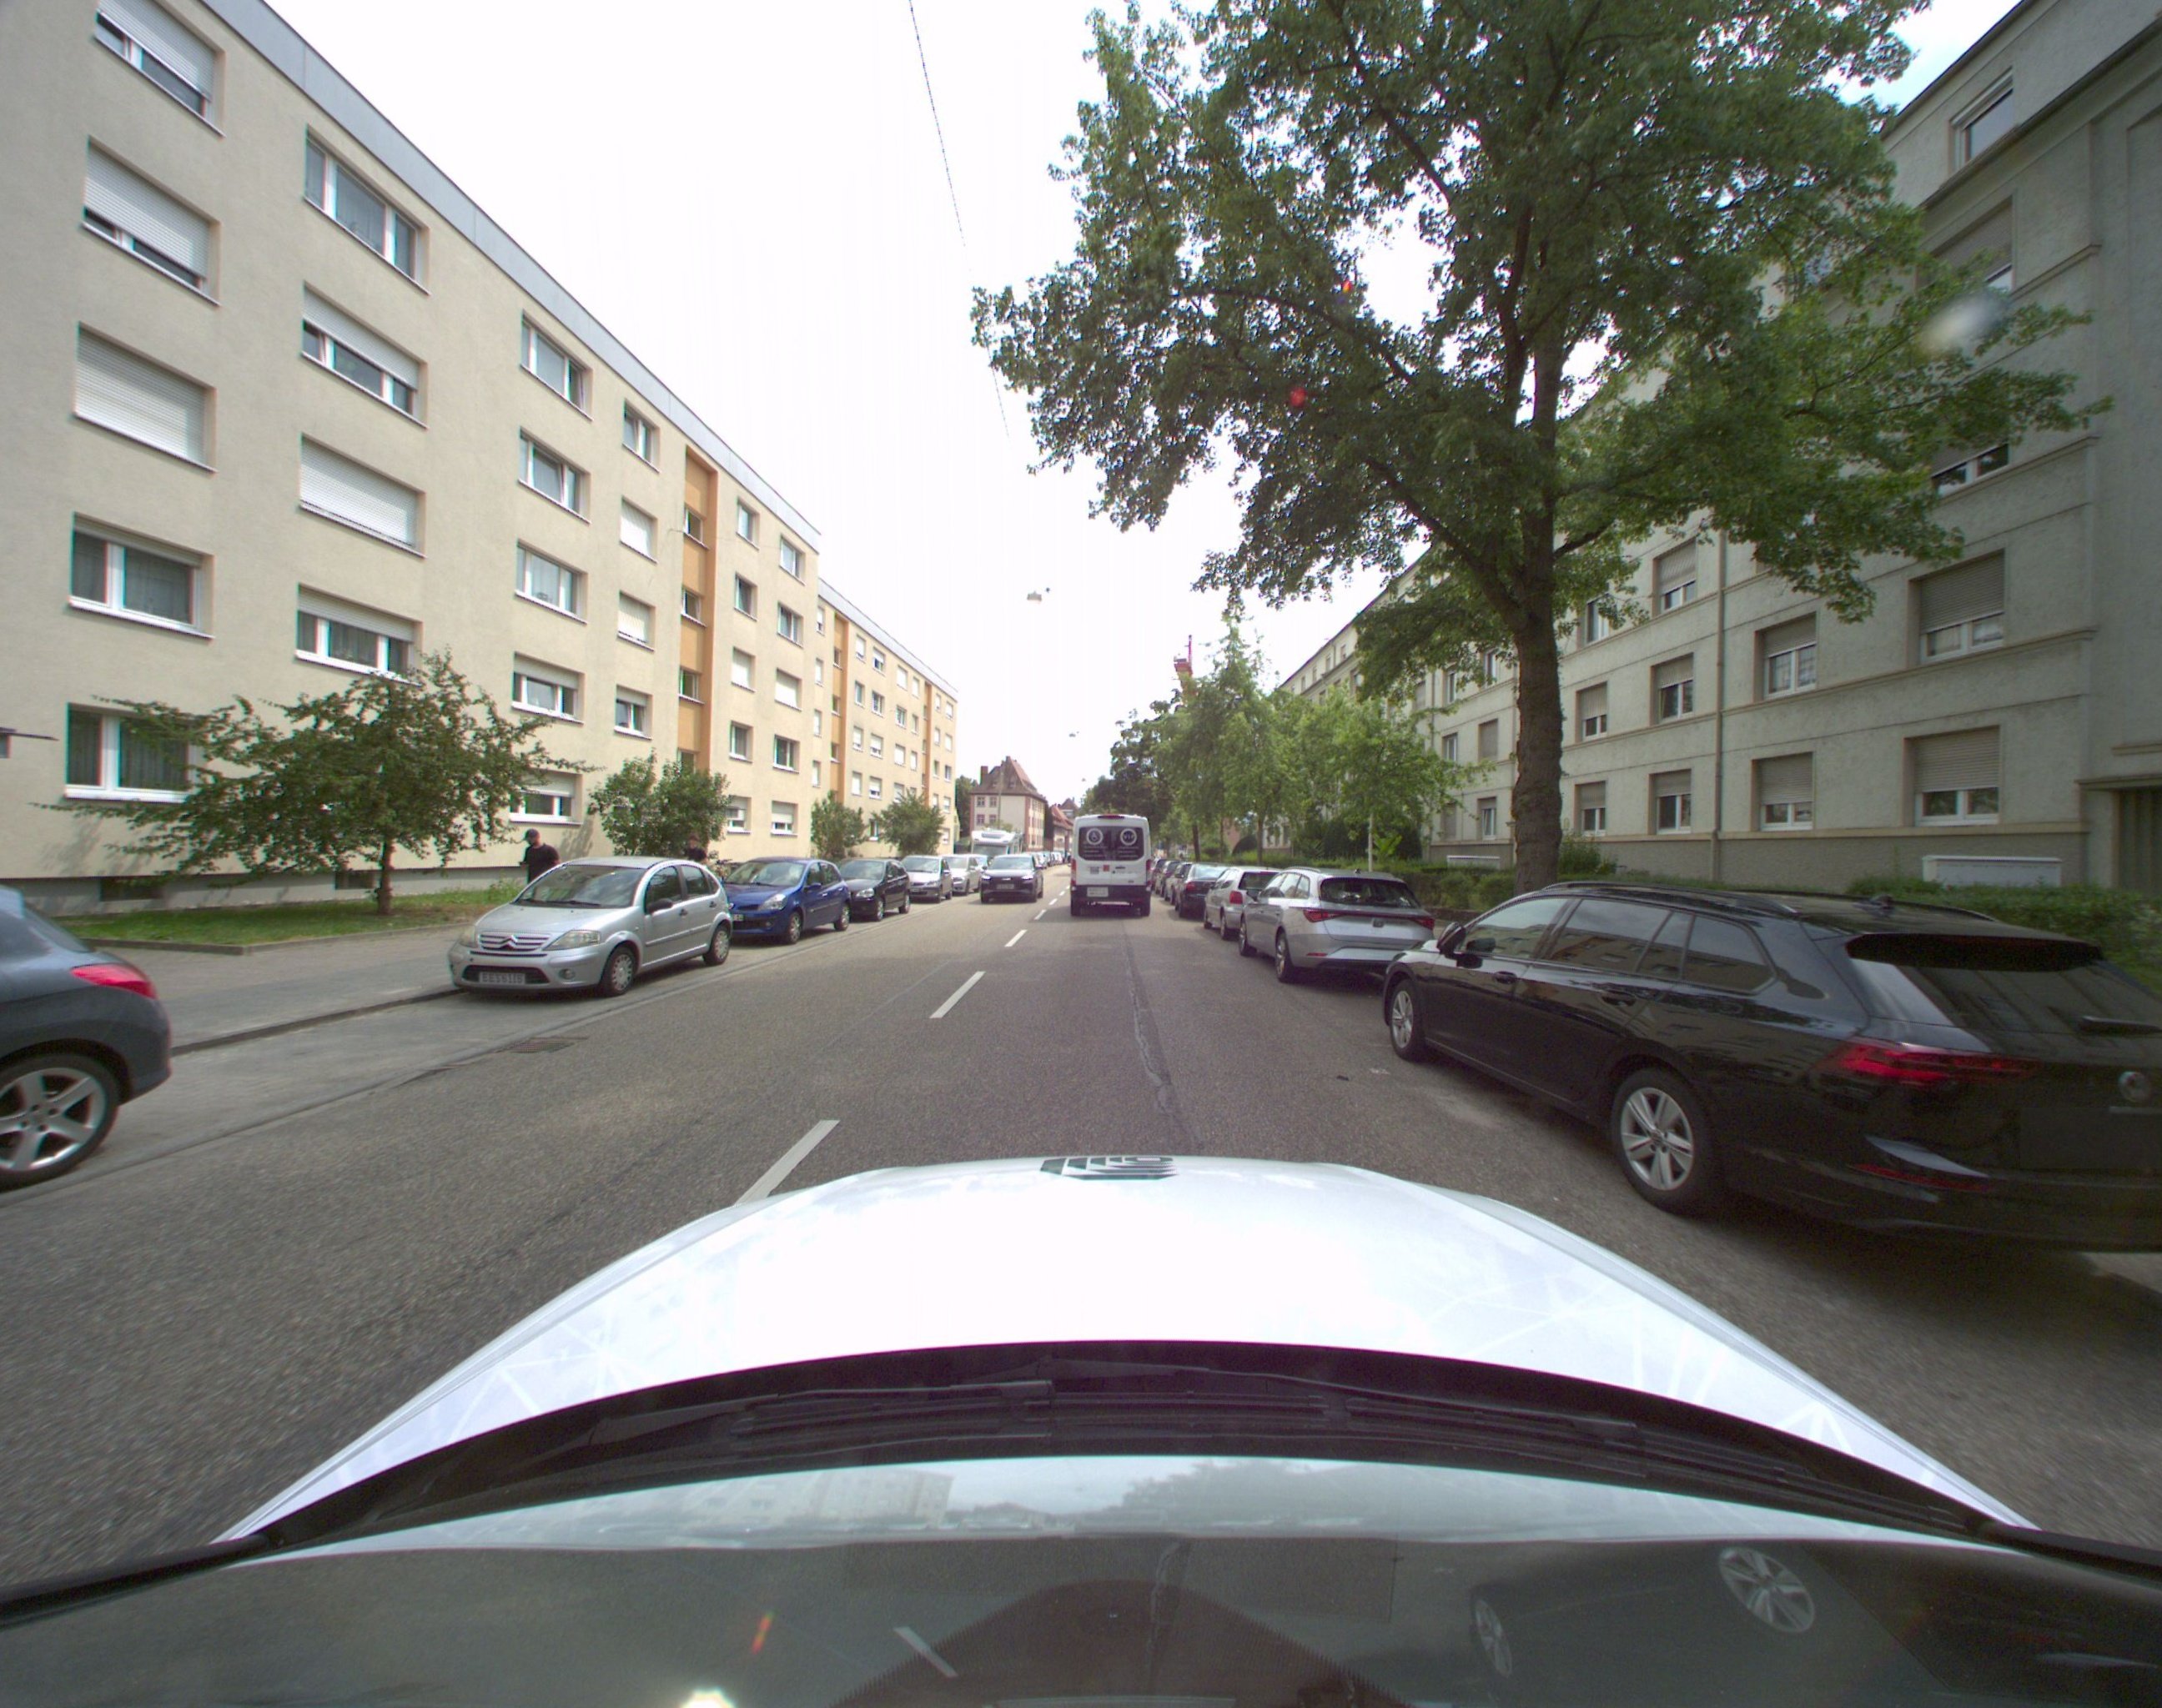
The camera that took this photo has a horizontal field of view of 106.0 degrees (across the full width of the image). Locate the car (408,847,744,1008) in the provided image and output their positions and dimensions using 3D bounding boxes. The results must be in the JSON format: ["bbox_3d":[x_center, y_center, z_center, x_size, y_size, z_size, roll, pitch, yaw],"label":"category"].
[{"bbox_3d":[-5.872,0.743,10.112,1.664,1.561,3.851,2,0,0],"label":"car"}]

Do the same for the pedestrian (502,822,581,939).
[{"bbox_3d":[-8.741,0.419,13.219,0.618,1.813,0.899,2,-1,-1],"label":"pedestrian"}]

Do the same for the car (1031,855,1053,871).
[{"bbox_3d":[-4.011,0.877,84.207,1.779,1.543,3.863,2,0,2],"label":"car"}]

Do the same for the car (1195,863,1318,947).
[{"bbox_3d":[3.437,0.940,16.651,1.664,1.400,3.851,3,0,1],"label":"car"}]

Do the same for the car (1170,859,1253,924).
[{"bbox_3d":[3.379,0.907,21.809,1.772,1.469,4.620,2,0,4],"label":"car"}]

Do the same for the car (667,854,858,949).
[{"bbox_3d":[-5.740,0.787,15.244,1.810,1.483,3.888,2,0,3],"label":"car"}]

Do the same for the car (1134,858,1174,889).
[{"bbox_3d":[3.878,1.018,43.879,1.612,1.469,4.389,2,0,-1],"label":"car"}]

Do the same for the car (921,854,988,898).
[{"bbox_3d":[-4.990,0.838,32.625,1.748,1.579,4.570,2,0,2],"label":"car"}]

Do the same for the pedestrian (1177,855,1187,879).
[{"bbox_3d":[7.885,1.010,63.646,0.527,1.828,0.517,0,-1,-42],"label":"pedestrian"}]

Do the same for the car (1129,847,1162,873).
[{"bbox_3d":[4.664,0.430,59.665,1.921,1.661,5.323,3,0,-1],"label":"car"}]

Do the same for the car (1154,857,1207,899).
[{"bbox_3d":[3.910,0.924,32.498,1.653,1.469,3.890,0,1,1],"label":"car"}]

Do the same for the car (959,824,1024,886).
[{"bbox_3d":[-4.729,0.047,44.497,2.502,3.024,7.397,2,0,1],"label":"car"}]

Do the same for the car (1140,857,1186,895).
[{"bbox_3d":[3.874,0.999,38.971,1.654,1.583,4.284,3,0,-1],"label":"car"}]

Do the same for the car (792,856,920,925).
[{"bbox_3d":[-5.513,0.836,20.514,1.810,1.483,4.119,2,0,3],"label":"car"}]

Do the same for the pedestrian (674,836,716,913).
[{"bbox_3d":[-9.260,0.475,19.576,0.618,1.813,0.803,0,0,-1],"label":"pedestrian"}]

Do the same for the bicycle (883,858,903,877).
[{"bbox_3d":[-10.213,0.720,44.338,0.451,0.980,2.447,1,1,2],"label":"bicycle"}]

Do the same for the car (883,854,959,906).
[{"bbox_3d":[-5.282,0.805,27.377,1.717,1.539,4.004,1,1,0],"label":"car"}]

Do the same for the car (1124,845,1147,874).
[{"bbox_3d":[5.211,0.515,78.429,1.890,2.587,4.830,3,0,2],"label":"car"}]

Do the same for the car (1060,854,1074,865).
[{"bbox_3d":[-2.054,0.782,117.729,1.779,1.482,3.863,2,0,2],"label":"car"}]

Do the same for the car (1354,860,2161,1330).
[{"bbox_3d":[3.348,0.822,5.054,1.692,1.469,4.753,2,0,0],"label":"car"}]

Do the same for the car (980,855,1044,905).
[{"bbox_3d":[-2.317,0.833,28.338,1.812,1.586,4.436,0,0,1],"label":"car"}]

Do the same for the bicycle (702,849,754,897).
[{"bbox_3d":[-10.783,0.539,24.966,0.460,1.393,2.133,1,1,5],"label":"bicycle"}]

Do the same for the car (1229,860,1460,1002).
[{"bbox_3d":[3.324,0.864,11.297,1.691,1.469,4.718,2,0,1],"label":"car"}]

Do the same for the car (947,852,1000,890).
[{"bbox_3d":[-4.906,0.727,37.701,1.683,1.579,4.594,2,0,1],"label":"car"}]

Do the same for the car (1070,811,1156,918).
[{"bbox_3d":[0.757,0.274,21.756,2.064,2.540,4.633,0,-1,0],"label":"car"}]

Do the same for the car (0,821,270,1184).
[{"bbox_3d":[-5.811,0.631,2.616,1.935,1.613,4.304,2,0,2],"label":"car"}]

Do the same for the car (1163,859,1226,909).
[{"bbox_3d":[3.759,0.942,27.477,1.653,1.469,3.726,1,1,1],"label":"car"}]
